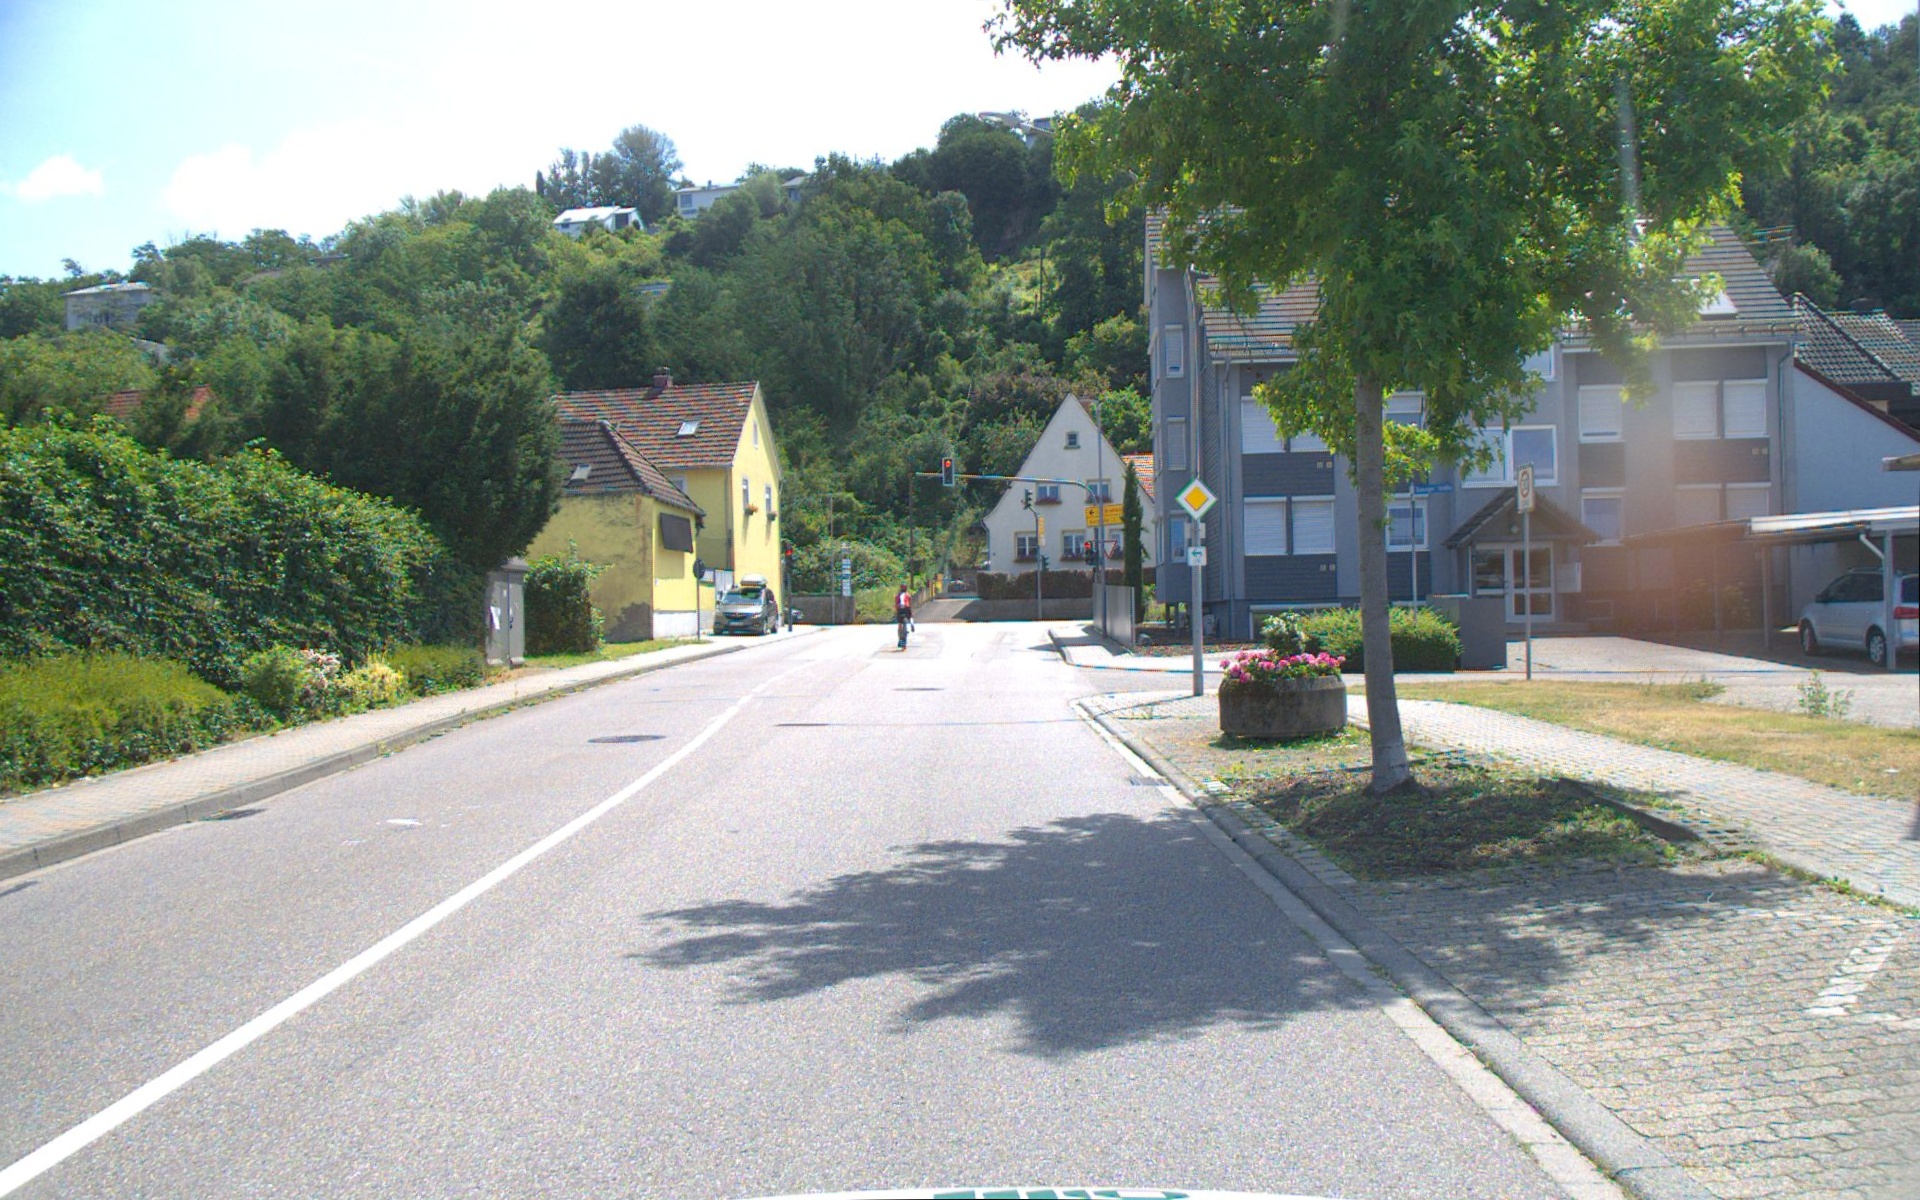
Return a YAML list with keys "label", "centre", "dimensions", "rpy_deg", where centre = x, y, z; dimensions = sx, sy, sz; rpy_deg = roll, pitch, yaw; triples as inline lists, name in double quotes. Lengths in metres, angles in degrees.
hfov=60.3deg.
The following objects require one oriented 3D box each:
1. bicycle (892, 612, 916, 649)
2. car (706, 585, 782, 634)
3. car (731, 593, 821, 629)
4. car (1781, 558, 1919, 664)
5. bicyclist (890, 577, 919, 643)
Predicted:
- label: "bicycle"
  centre: [-1.463, 0.786, 42.938]
  dimensions: [0.617, 0.920, 1.656]
  rpy_deg: [0, 0, -2]
- label: "car"
  centre: [-7.607, 0.297, 58.664]
  dimensions: [1.952, 1.664, 4.631]
  rpy_deg: [0, 0, 2]
- label: "car"
  centre: [-8.595, 0.519, 77.519]
  dimensions: [3.777, 1.458, 1.788]
  rpy_deg: [-3, 0, 11]
- label: "car"
  centre: [16.683, 0.126, 29.927]
  dimensions: [1.700, 1.677, 4.218]
  rpy_deg: [-2, 2, 3]
- label: "bicyclist"
  centre: [-1.434, 0.262, 42.916]
  dimensions: [0.745, 1.693, 0.868]
  rpy_deg: [0, 0, -2]
